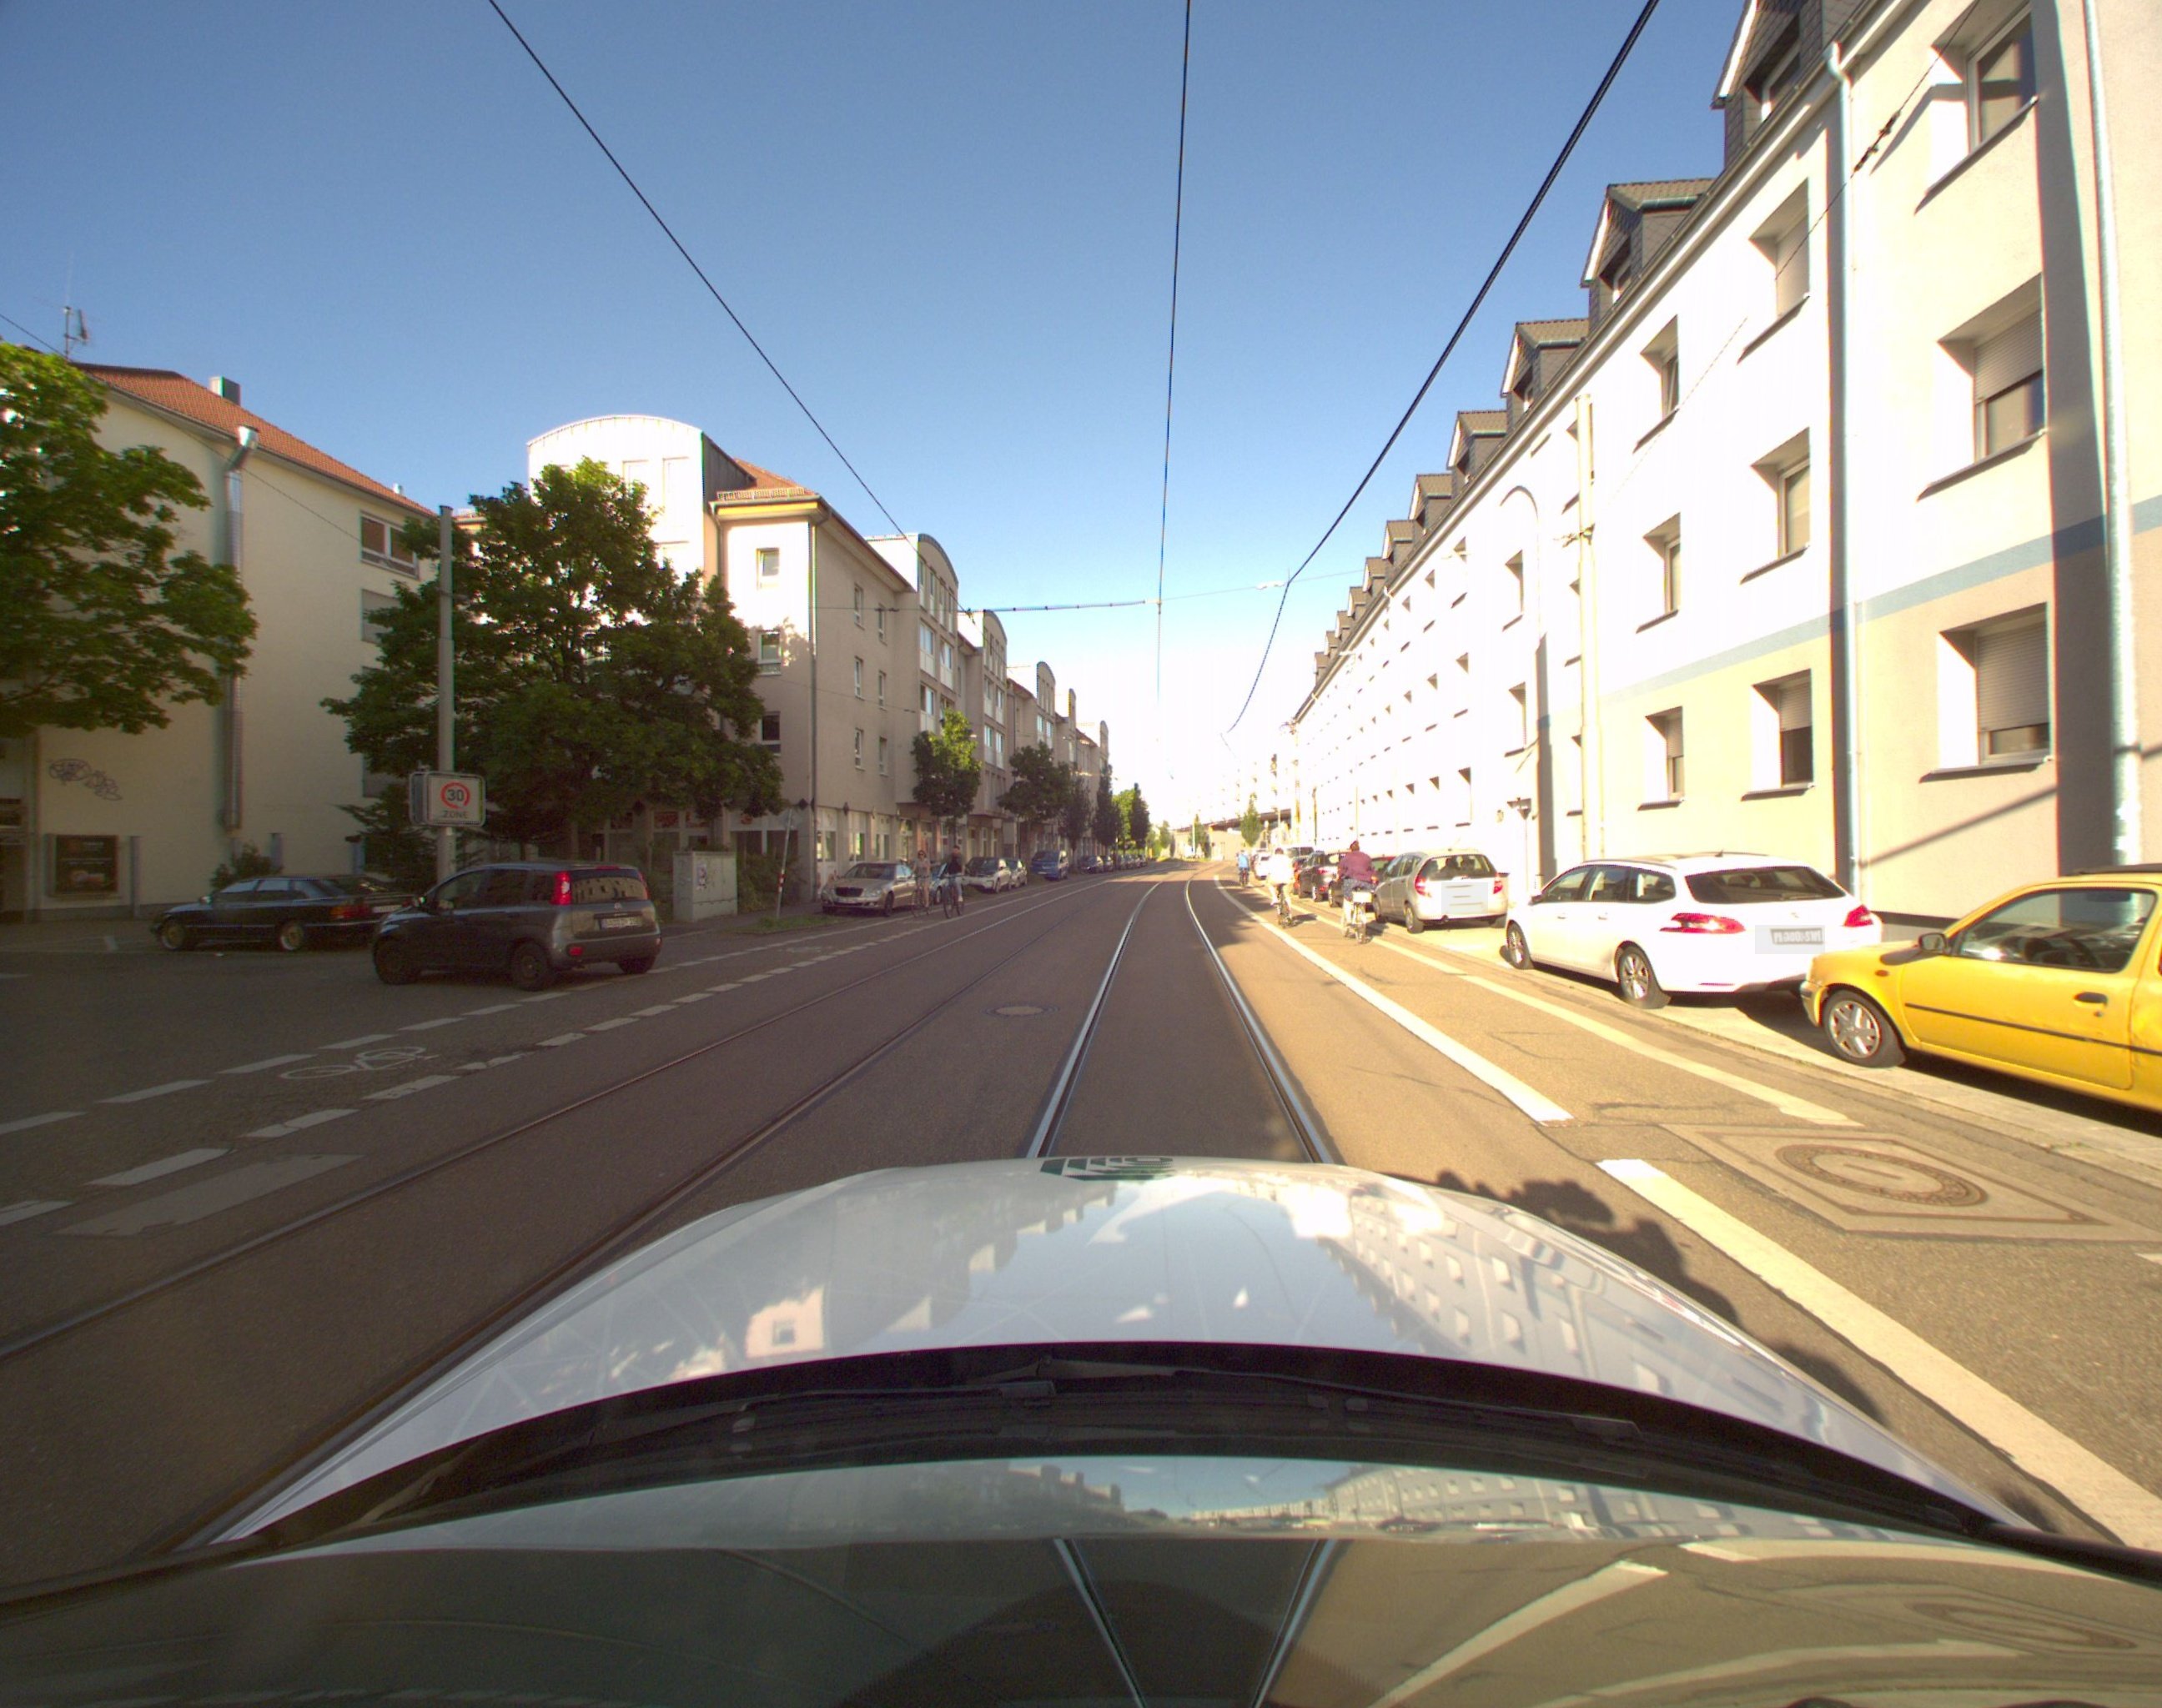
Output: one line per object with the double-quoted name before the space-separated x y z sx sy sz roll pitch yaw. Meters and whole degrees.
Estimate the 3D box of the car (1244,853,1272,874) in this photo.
"car" 14.253 0.760 65.698 1.834 1.646 3.972 -1 0 6

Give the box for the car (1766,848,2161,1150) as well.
"car" 5.976 0.690 4.251 1.506 1.431 4.207 -2 -1 5

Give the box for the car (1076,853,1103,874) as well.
"car" 0.717 0.780 66.548 1.656 1.618 4.009 -1 0 7

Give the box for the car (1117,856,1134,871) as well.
"car" 4.632 1.006 84.917 1.583 1.540 3.197 -1 0 6

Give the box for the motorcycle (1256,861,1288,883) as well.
"motorcycle" 9.923 0.929 42.322 0.494 1.144 1.752 0 0 -34

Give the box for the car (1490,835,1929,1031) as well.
"car" 6.331 0.659 9.017 1.671 1.571 4.516 -2 0 6

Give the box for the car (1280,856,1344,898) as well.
"car" 8.840 0.836 31.491 1.786 1.483 3.785 -1 0 6

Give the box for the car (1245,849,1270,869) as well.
"car" 16.455 0.456 76.036 1.834 1.756 4.557 -1 0 7

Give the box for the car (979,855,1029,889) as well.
"car" -3.896 0.894 41.898 1.821 1.593 4.006 -1 0 5

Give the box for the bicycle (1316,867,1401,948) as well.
"bicycle" 4.918 0.900 14.611 0.817 1.236 2.465 3 0 5

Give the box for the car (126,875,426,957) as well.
"car" -15.190 1.149 15.442 4.526 1.388 1.719 -1 -1 10

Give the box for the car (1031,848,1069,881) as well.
"car" -1.918 0.612 51.347 1.656 1.986 4.352 -1 0 7

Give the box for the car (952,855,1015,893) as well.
"car" -4.366 0.864 37.053 1.819 1.593 4.009 -1 0 8

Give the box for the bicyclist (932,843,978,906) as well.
"bicyclist" -3.265 0.528 21.207 0.877 1.561 0.869 -4 0 5

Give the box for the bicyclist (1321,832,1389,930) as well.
"bicyclist" 4.873 0.462 14.545 0.930 1.676 0.971 -1 0 4

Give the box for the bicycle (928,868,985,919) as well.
"bicycle" -3.226 0.996 21.294 0.835 1.149 2.236 -5 0 6

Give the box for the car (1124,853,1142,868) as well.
"car" 6.114 0.755 95.117 1.834 1.646 3.704 -1 0 6

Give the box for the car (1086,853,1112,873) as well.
"car" 1.642 0.792 72.190 1.834 1.646 4.557 -1 0 7

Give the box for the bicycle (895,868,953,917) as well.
"bicycle" -4.208 1.011 22.075 0.835 1.149 2.236 -5 0 6

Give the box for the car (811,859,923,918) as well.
"car" -5.925 0.901 23.062 1.735 1.443 4.006 1 0 5

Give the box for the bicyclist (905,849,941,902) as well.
"bicyclist" -4.281 0.569 22.099 0.620 1.380 0.869 -5 -1 5

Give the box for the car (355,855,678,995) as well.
"car" -7.129 0.826 10.342 3.447 1.533 1.569 -1 0 18

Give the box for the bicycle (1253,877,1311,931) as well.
"bicycle" 4.203 1.017 17.252 0.735 0.924 2.840 2 0 5

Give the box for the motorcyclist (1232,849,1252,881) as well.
"motorcyclist" 7.216 0.466 36.502 0.724 1.405 1.022 -1 0 5

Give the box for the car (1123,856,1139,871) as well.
"car" 5.511 1.024 89.501 1.583 1.540 3.197 -1 0 6

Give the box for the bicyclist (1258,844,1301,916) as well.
"bicyclist" 4.180 0.536 17.193 0.724 1.462 1.022 -1 0 5

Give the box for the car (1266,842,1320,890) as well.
"car" 9.510 0.492 36.836 1.777 1.970 4.163 -2 0 7

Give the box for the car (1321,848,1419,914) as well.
"car" 7.618 0.647 21.833 1.583 1.537 4.015 -3 0 7

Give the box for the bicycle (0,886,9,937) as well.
"bicycle" -25.448 1.387 18.067 0.723 1.165 1.983 -1 2 -5

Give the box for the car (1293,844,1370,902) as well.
"car" 8.229 0.588 27.065 1.652 1.669 3.911 -4 0 6

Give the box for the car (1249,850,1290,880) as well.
"car" 11.106 0.629 48.215 1.834 1.646 4.557 -1 0 7

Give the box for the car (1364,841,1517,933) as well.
"car" 7.244 0.609 16.860 1.745 1.571 3.912 -4 0 7

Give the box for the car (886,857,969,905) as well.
"car" -5.397 0.896 29.151 1.821 1.489 4.006 -3 0 5
